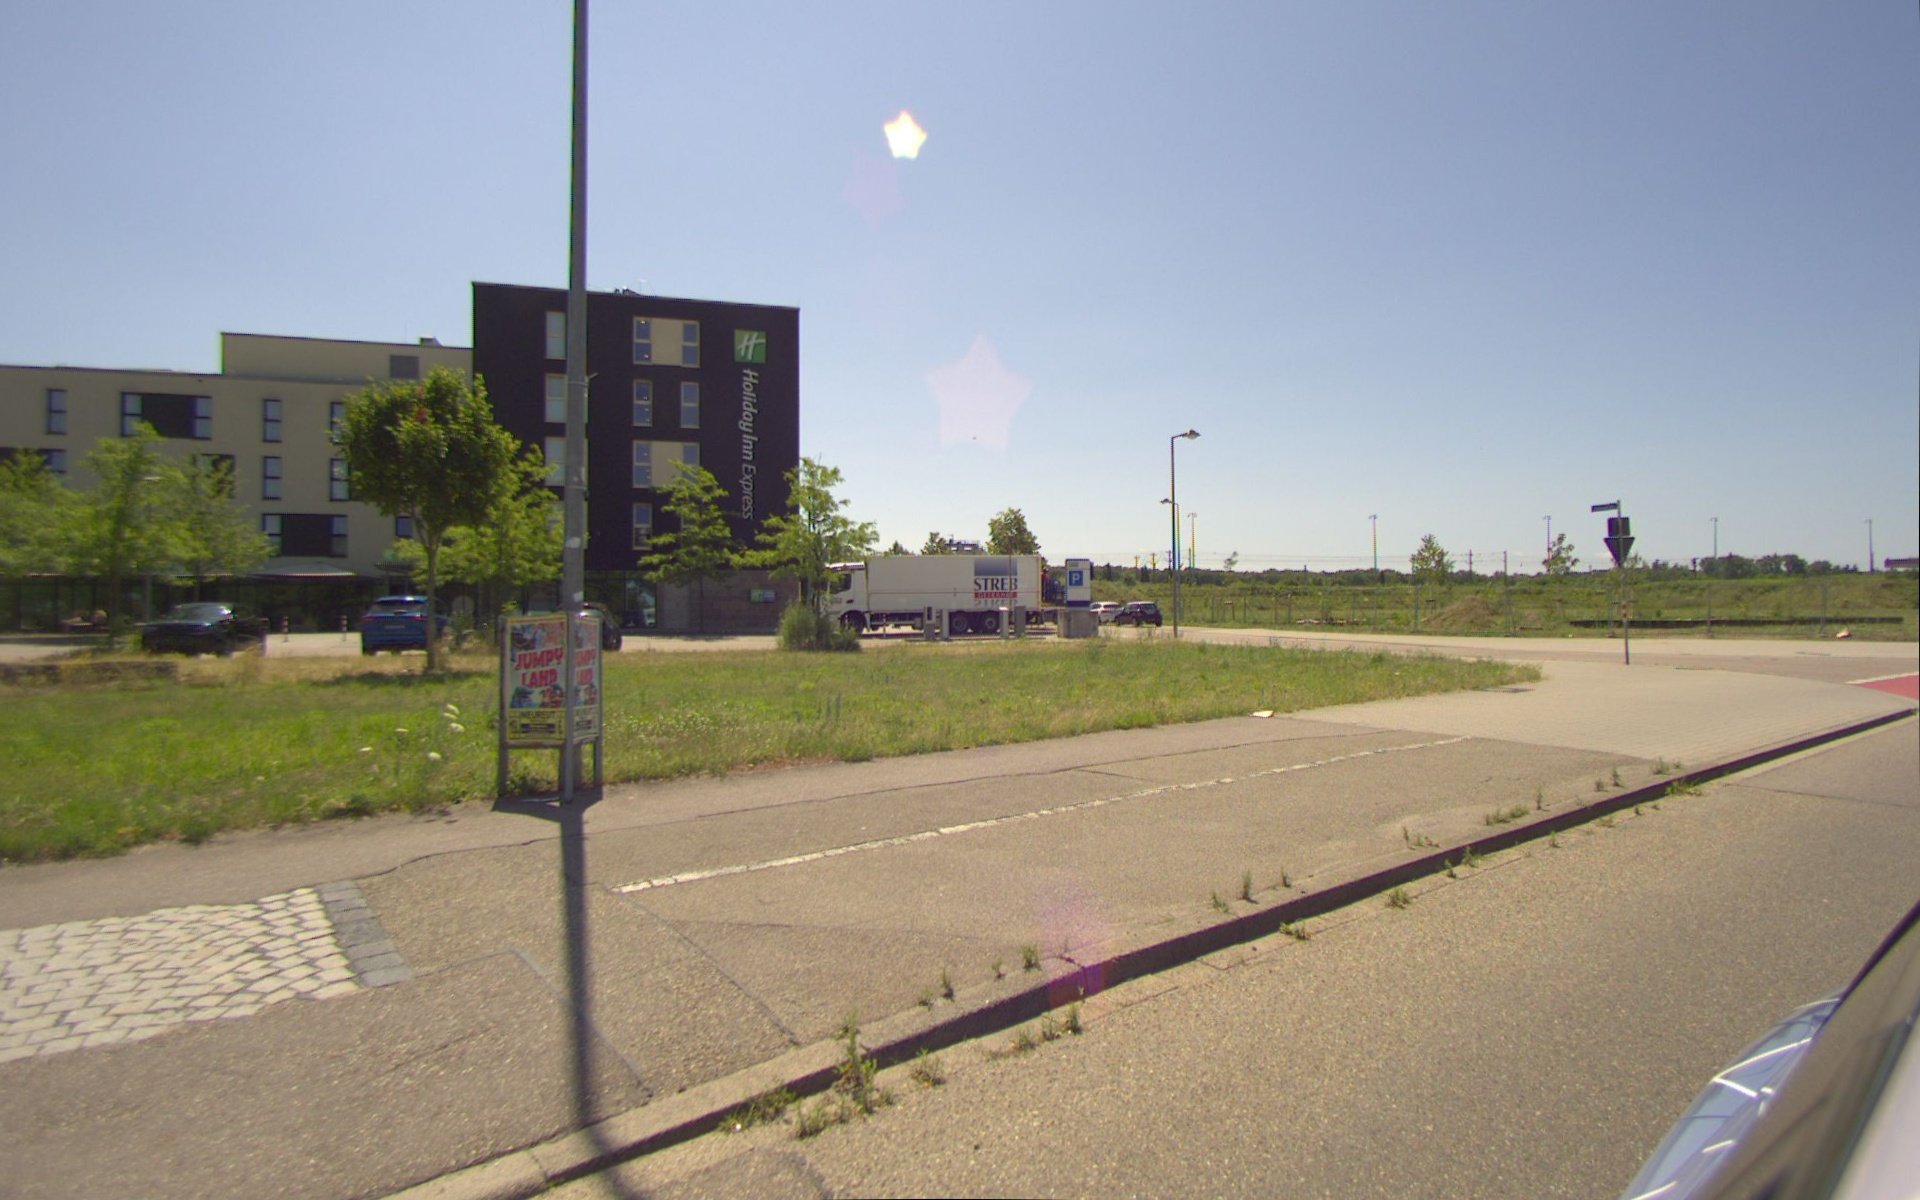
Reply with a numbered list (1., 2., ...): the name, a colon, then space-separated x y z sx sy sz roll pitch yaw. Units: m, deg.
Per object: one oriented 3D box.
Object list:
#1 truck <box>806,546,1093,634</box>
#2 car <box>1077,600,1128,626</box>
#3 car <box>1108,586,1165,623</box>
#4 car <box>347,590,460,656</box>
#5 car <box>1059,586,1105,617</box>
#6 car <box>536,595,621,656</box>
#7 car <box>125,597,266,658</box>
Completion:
1. truck: -0.437 -0.422 43.333 11.884 3.505 3.025 0 1 -15
2. car: 8.949 0.804 63.895 1.712 1.577 4.052 0 -1 -16
3. car: 10.182 0.262 58.563 1.841 2.039 3.923 0 0 -13
4. car: -15.209 0.607 27.892 1.913 1.673 4.079 0 -1 -17
5. car: 8.731 0.137 72.830 1.841 2.040 3.923 -1 -2 -16
6. car: -10.691 0.672 28.644 1.989 1.582 4.517 0 0 -17
7. car: -19.907 0.685 26.559 1.921 1.463 4.134 0 -1 -22
